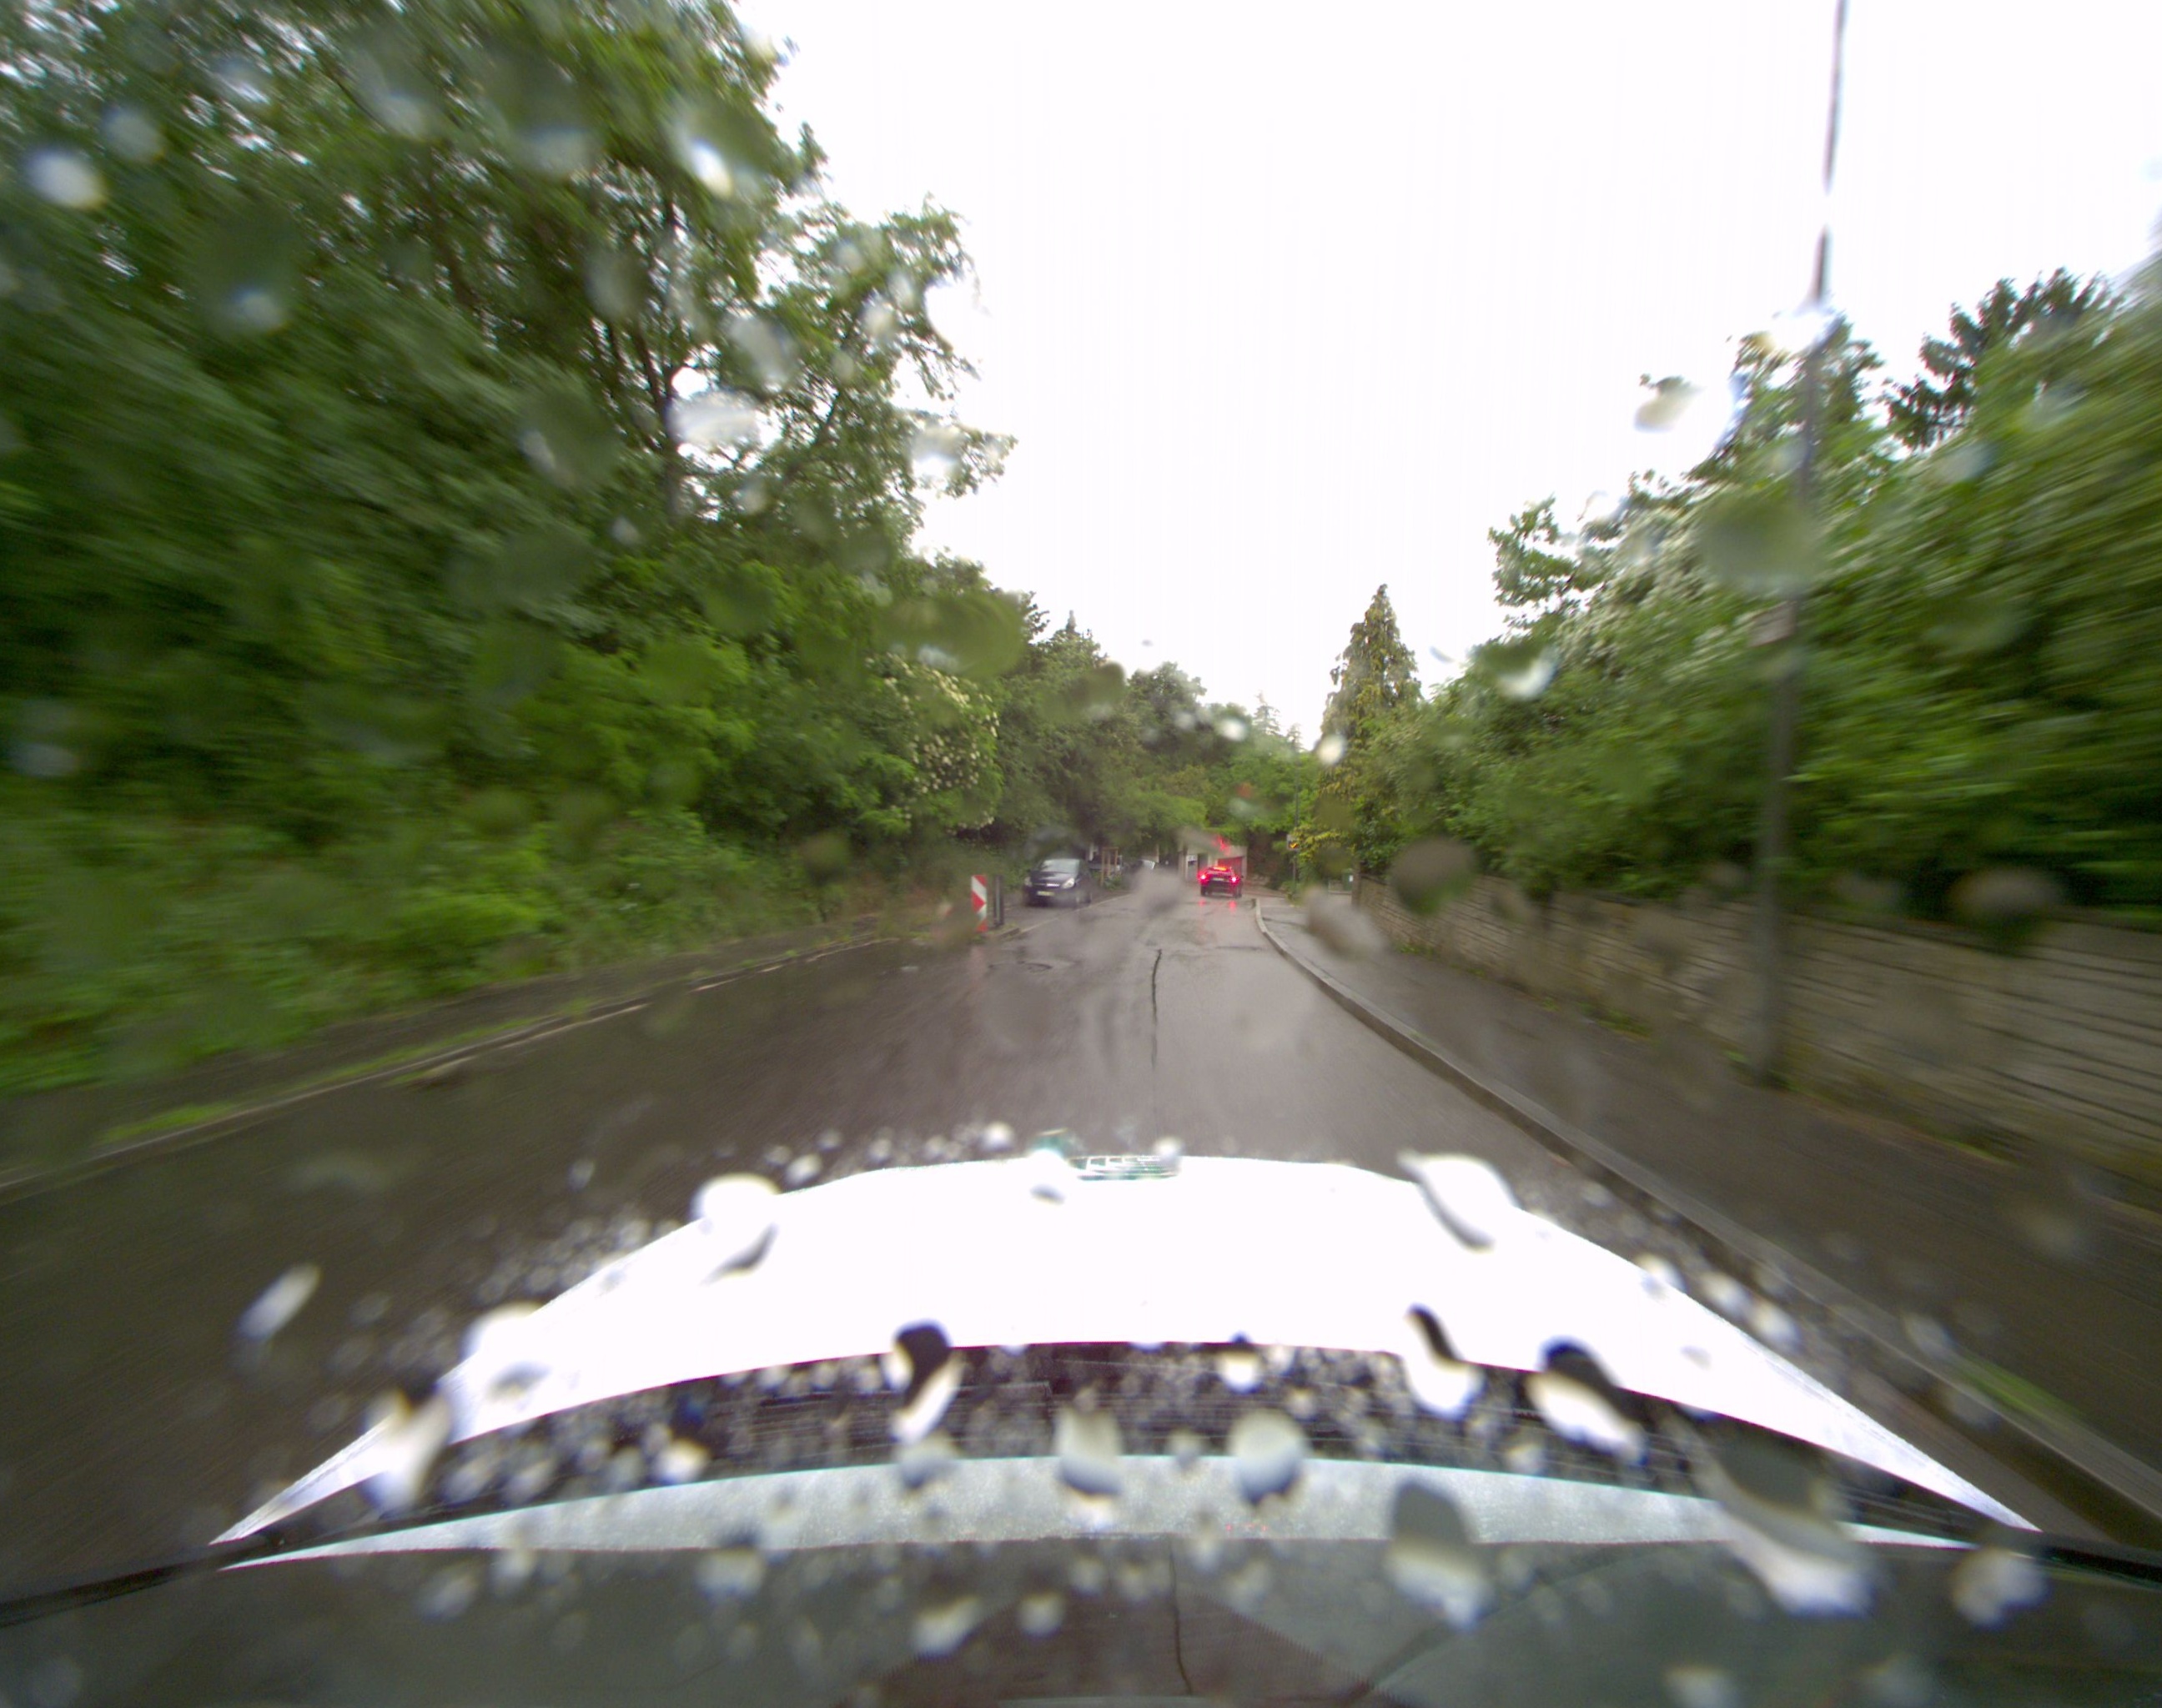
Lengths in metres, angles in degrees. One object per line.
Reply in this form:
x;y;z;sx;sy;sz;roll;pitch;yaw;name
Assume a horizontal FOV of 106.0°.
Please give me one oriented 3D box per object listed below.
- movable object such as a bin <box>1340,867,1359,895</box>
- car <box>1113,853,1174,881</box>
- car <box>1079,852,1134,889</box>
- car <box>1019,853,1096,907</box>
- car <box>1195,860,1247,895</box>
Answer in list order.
10.253;1.017;31.128;0.557;1.067;0.703;1;-1;9;movable object such as a bin
3.823;0.788;49.110;1.975;1.508;4.597;2;0;28;car
1.311;0.795;39.759;1.980;1.640;4.013;2;0;12;car
-0.647;0.737;25.501;1.690;1.471;4.010;2;0;8;car
6.868;1.149;39.683;1.854;1.512;4.111;2;-1;18;car
